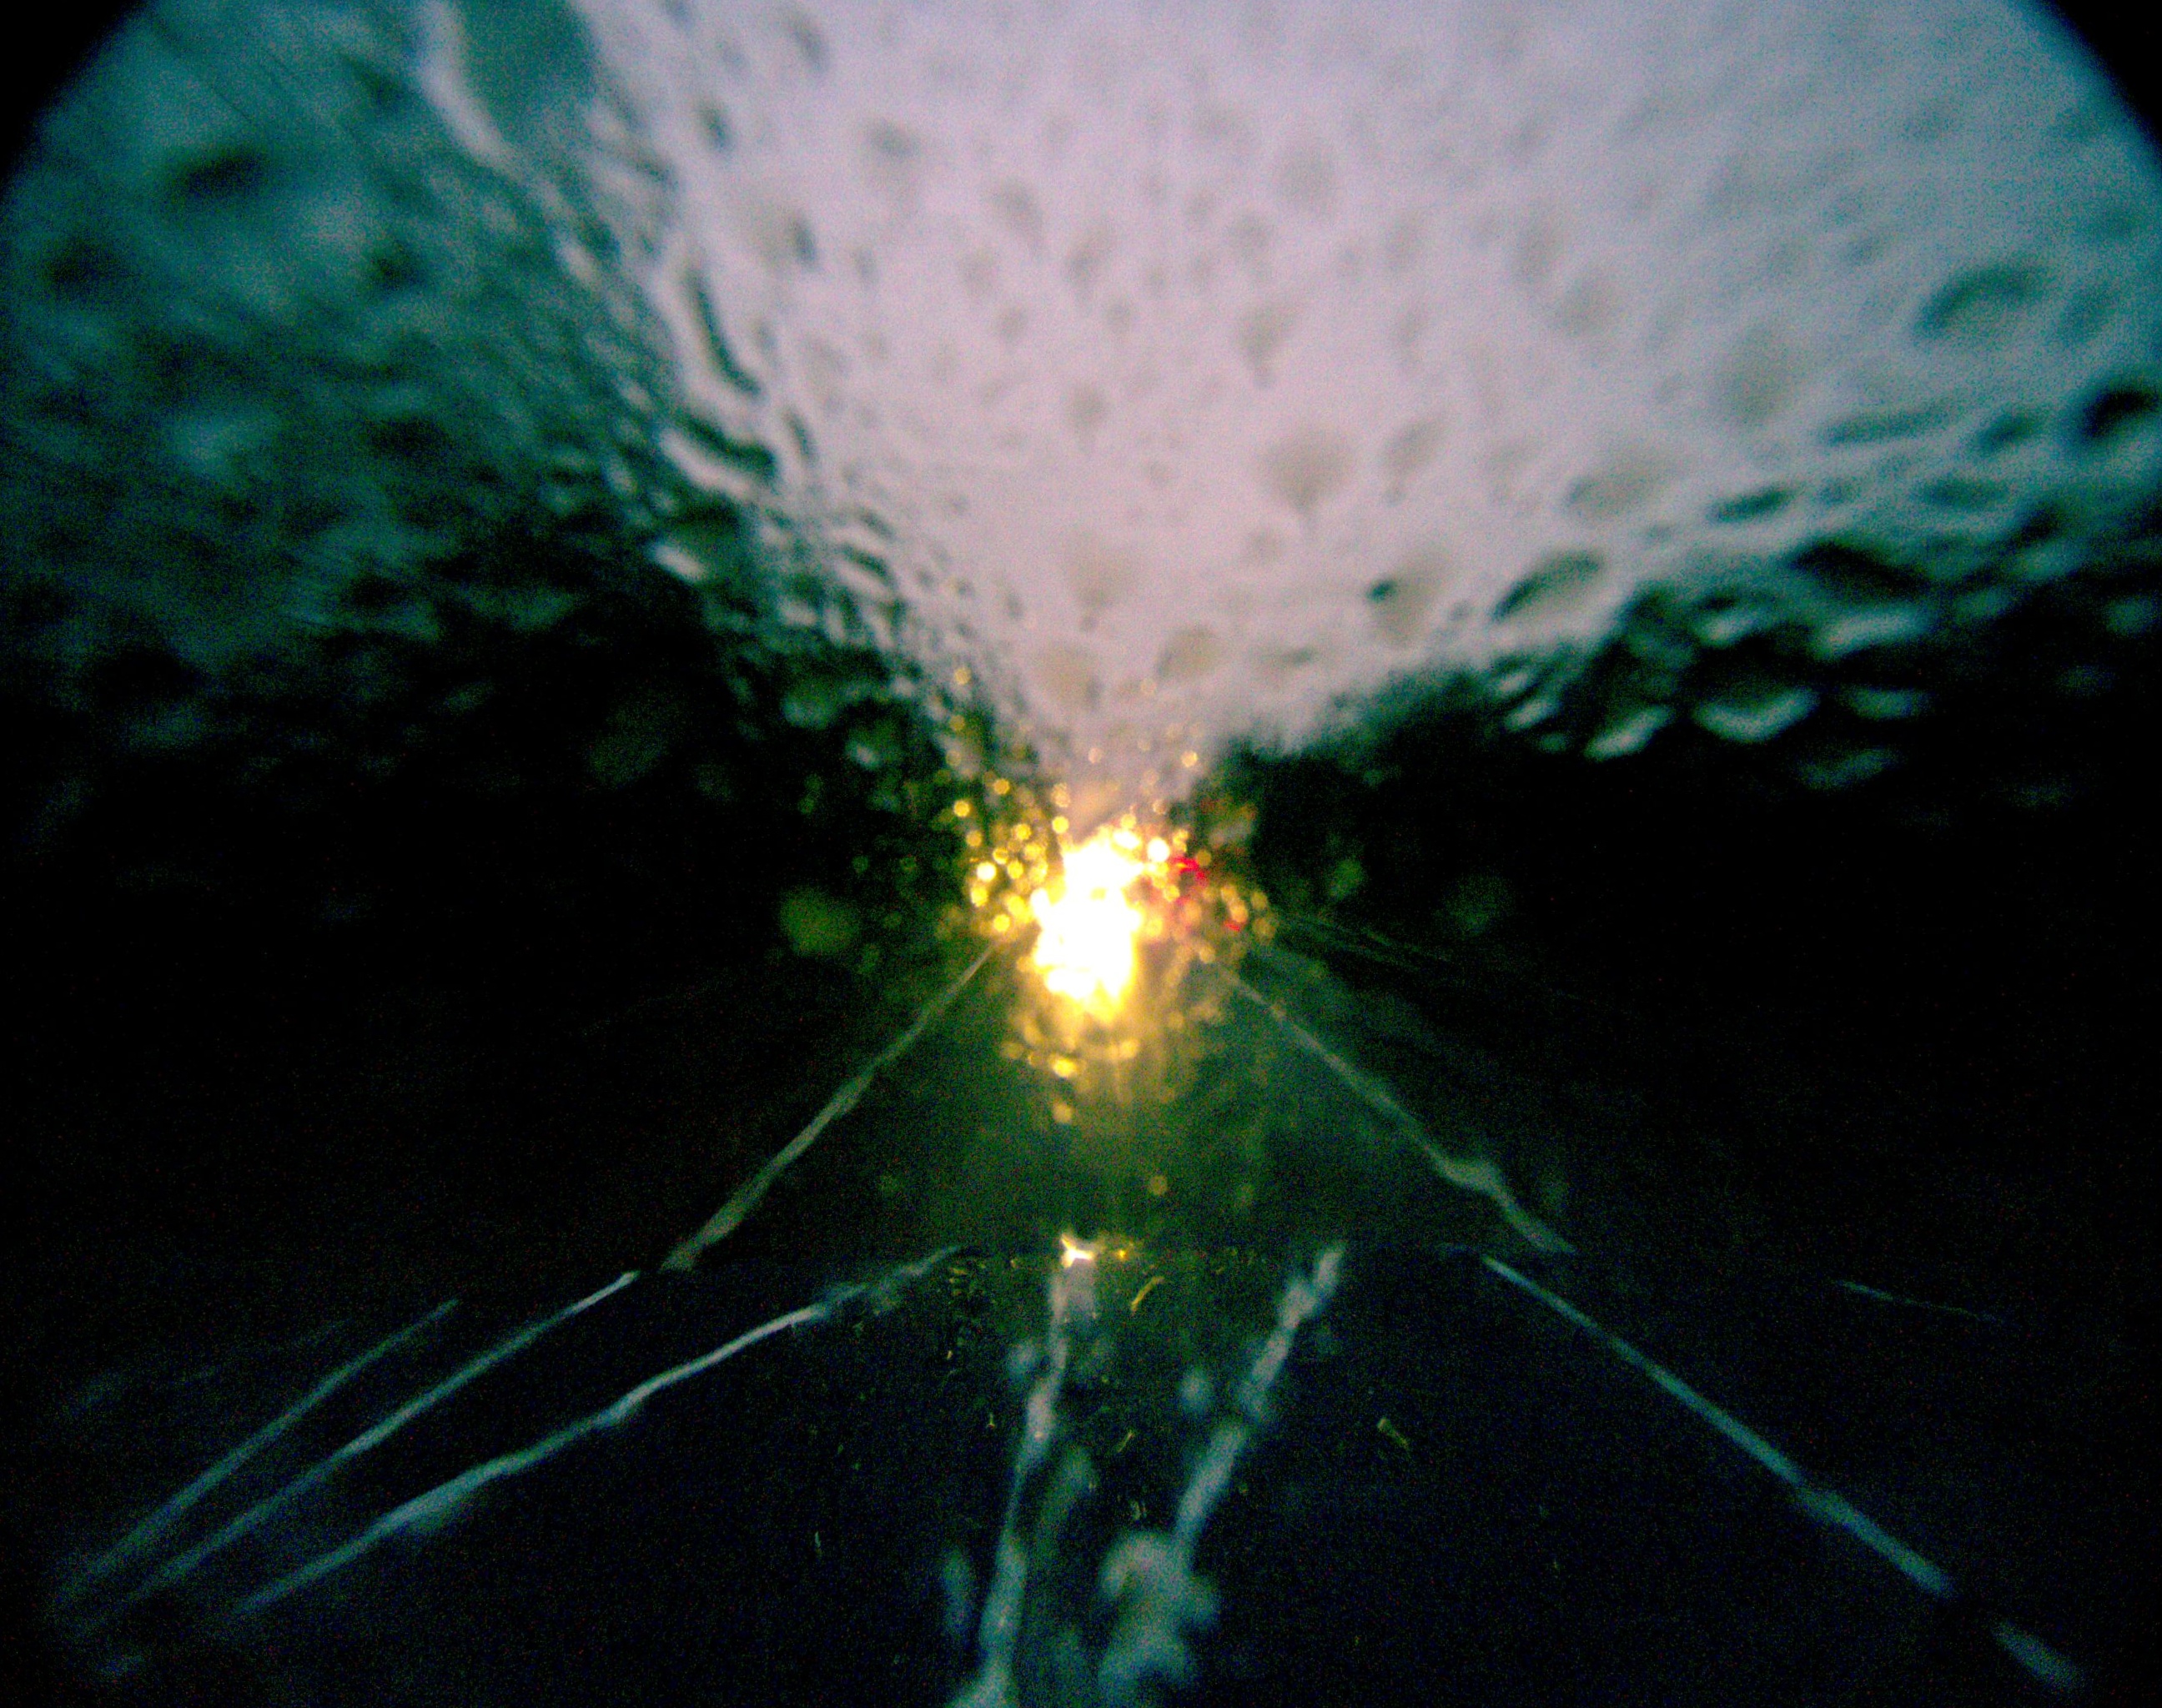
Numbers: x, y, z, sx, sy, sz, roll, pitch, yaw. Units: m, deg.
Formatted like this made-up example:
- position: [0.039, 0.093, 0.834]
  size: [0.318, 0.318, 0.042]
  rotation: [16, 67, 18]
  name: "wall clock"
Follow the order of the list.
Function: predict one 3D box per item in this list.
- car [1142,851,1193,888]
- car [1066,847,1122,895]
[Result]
- position: [3.813, 0.663, 33.884]
  size: [1.753, 1.543, 3.993]
  rotation: [-1, 0, -1]
  name: "car"
- position: [0.469, 0.632, 29.722]
  size: [1.998, 1.672, 4.000]
  rotation: [-2, 0, 0]
  name: "car"
